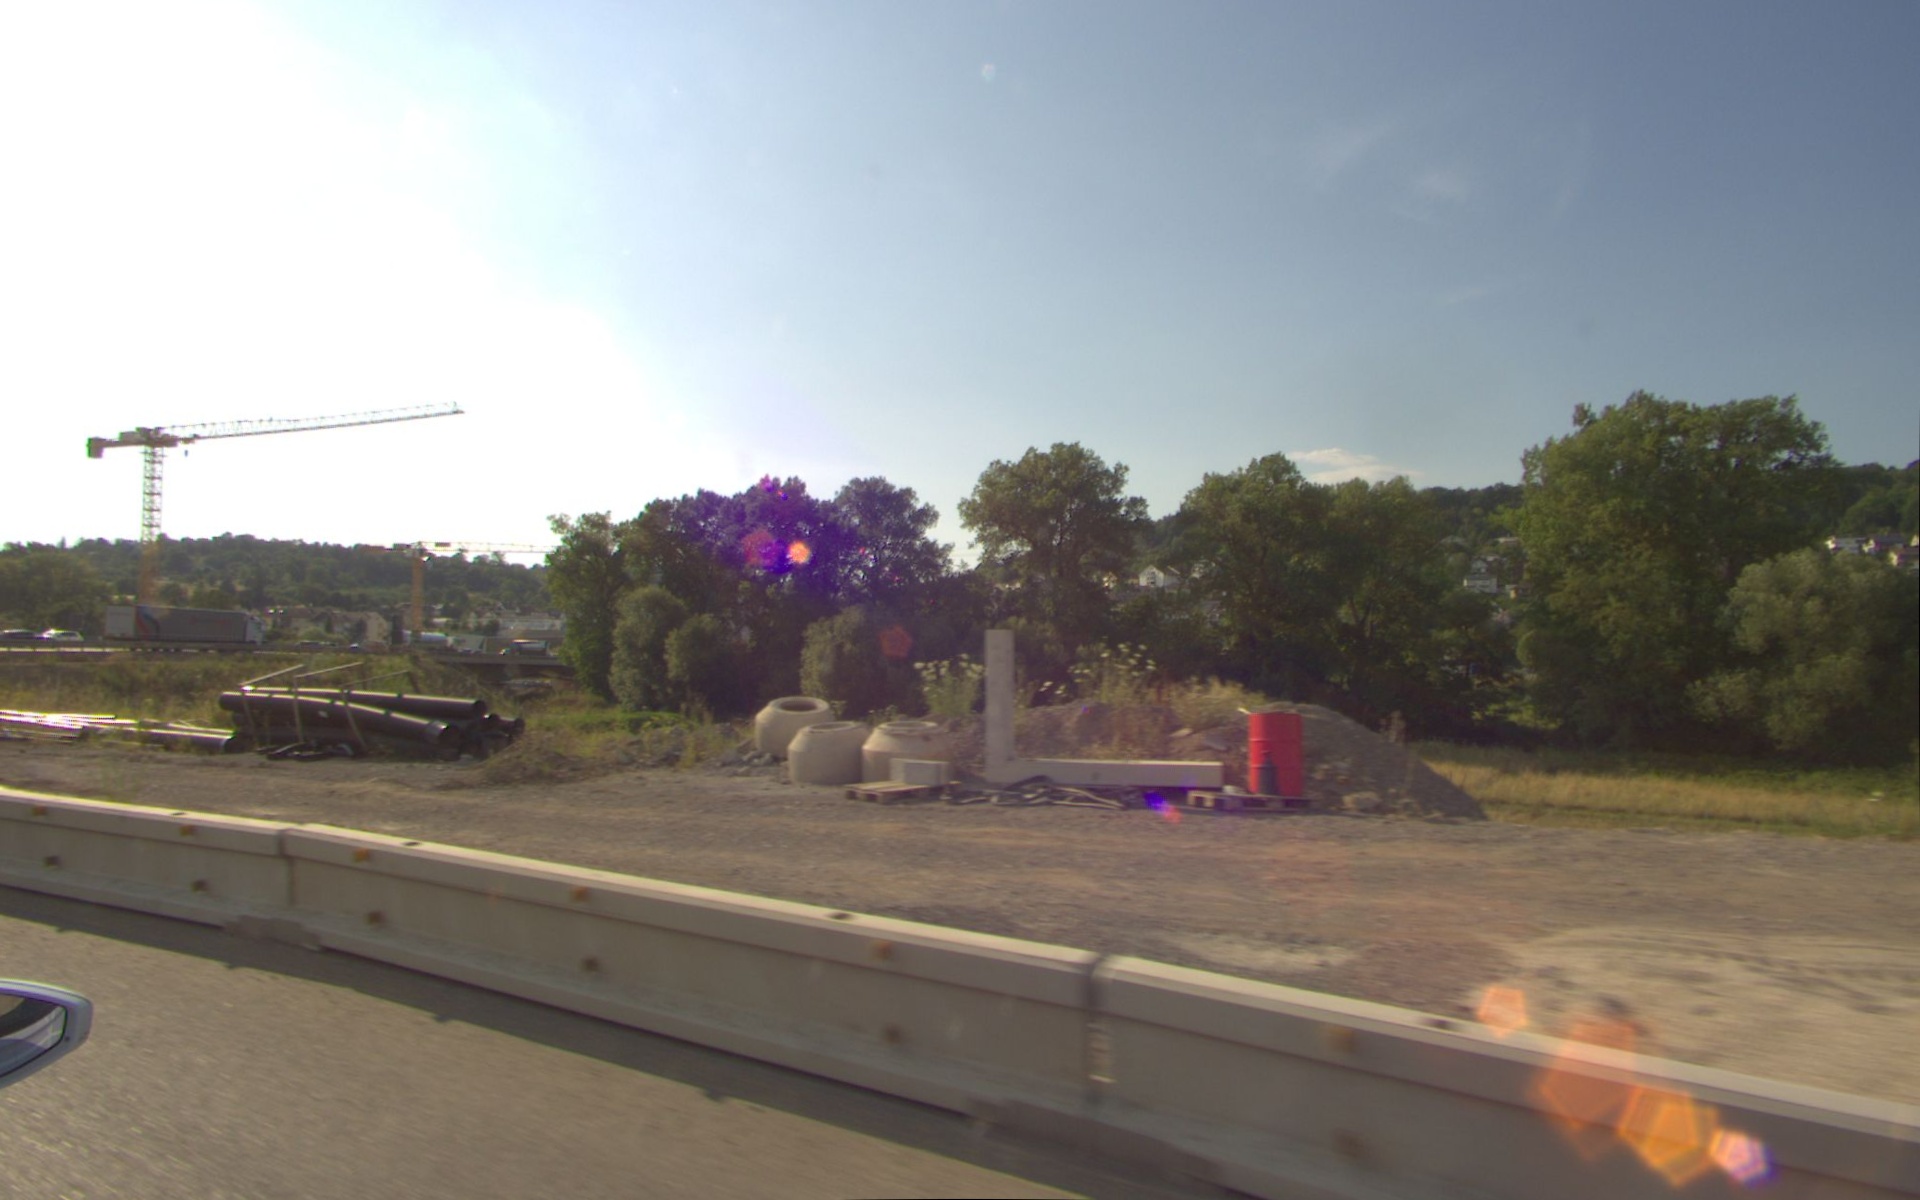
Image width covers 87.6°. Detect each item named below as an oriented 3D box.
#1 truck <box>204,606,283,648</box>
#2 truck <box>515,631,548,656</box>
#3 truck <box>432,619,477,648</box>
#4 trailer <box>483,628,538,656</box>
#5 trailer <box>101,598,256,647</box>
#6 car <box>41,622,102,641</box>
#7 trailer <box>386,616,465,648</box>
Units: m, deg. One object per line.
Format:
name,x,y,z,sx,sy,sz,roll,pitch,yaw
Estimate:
truck,-74.337,2.833,104.070,3.289,4.045,6.630,2,-3,-1
truck,-76.405,7.776,178.793,3.047,4.337,6.630,2,-3,-1
truck,-75.430,5.116,149.626,3.335,4.045,6.630,2,-3,-1
trailer,-76.153,7.284,170.232,3.053,4.366,14.265,2,-3,-1
trailer,-74.146,2.317,95.750,3.330,4.045,14.759,2,-3,-1
car,-80.719,2.897,91.041,1.629,1.518,4.241,3,-3,0
trailer,-75.243,4.635,141.496,3.330,4.045,14.759,2,-3,-1
